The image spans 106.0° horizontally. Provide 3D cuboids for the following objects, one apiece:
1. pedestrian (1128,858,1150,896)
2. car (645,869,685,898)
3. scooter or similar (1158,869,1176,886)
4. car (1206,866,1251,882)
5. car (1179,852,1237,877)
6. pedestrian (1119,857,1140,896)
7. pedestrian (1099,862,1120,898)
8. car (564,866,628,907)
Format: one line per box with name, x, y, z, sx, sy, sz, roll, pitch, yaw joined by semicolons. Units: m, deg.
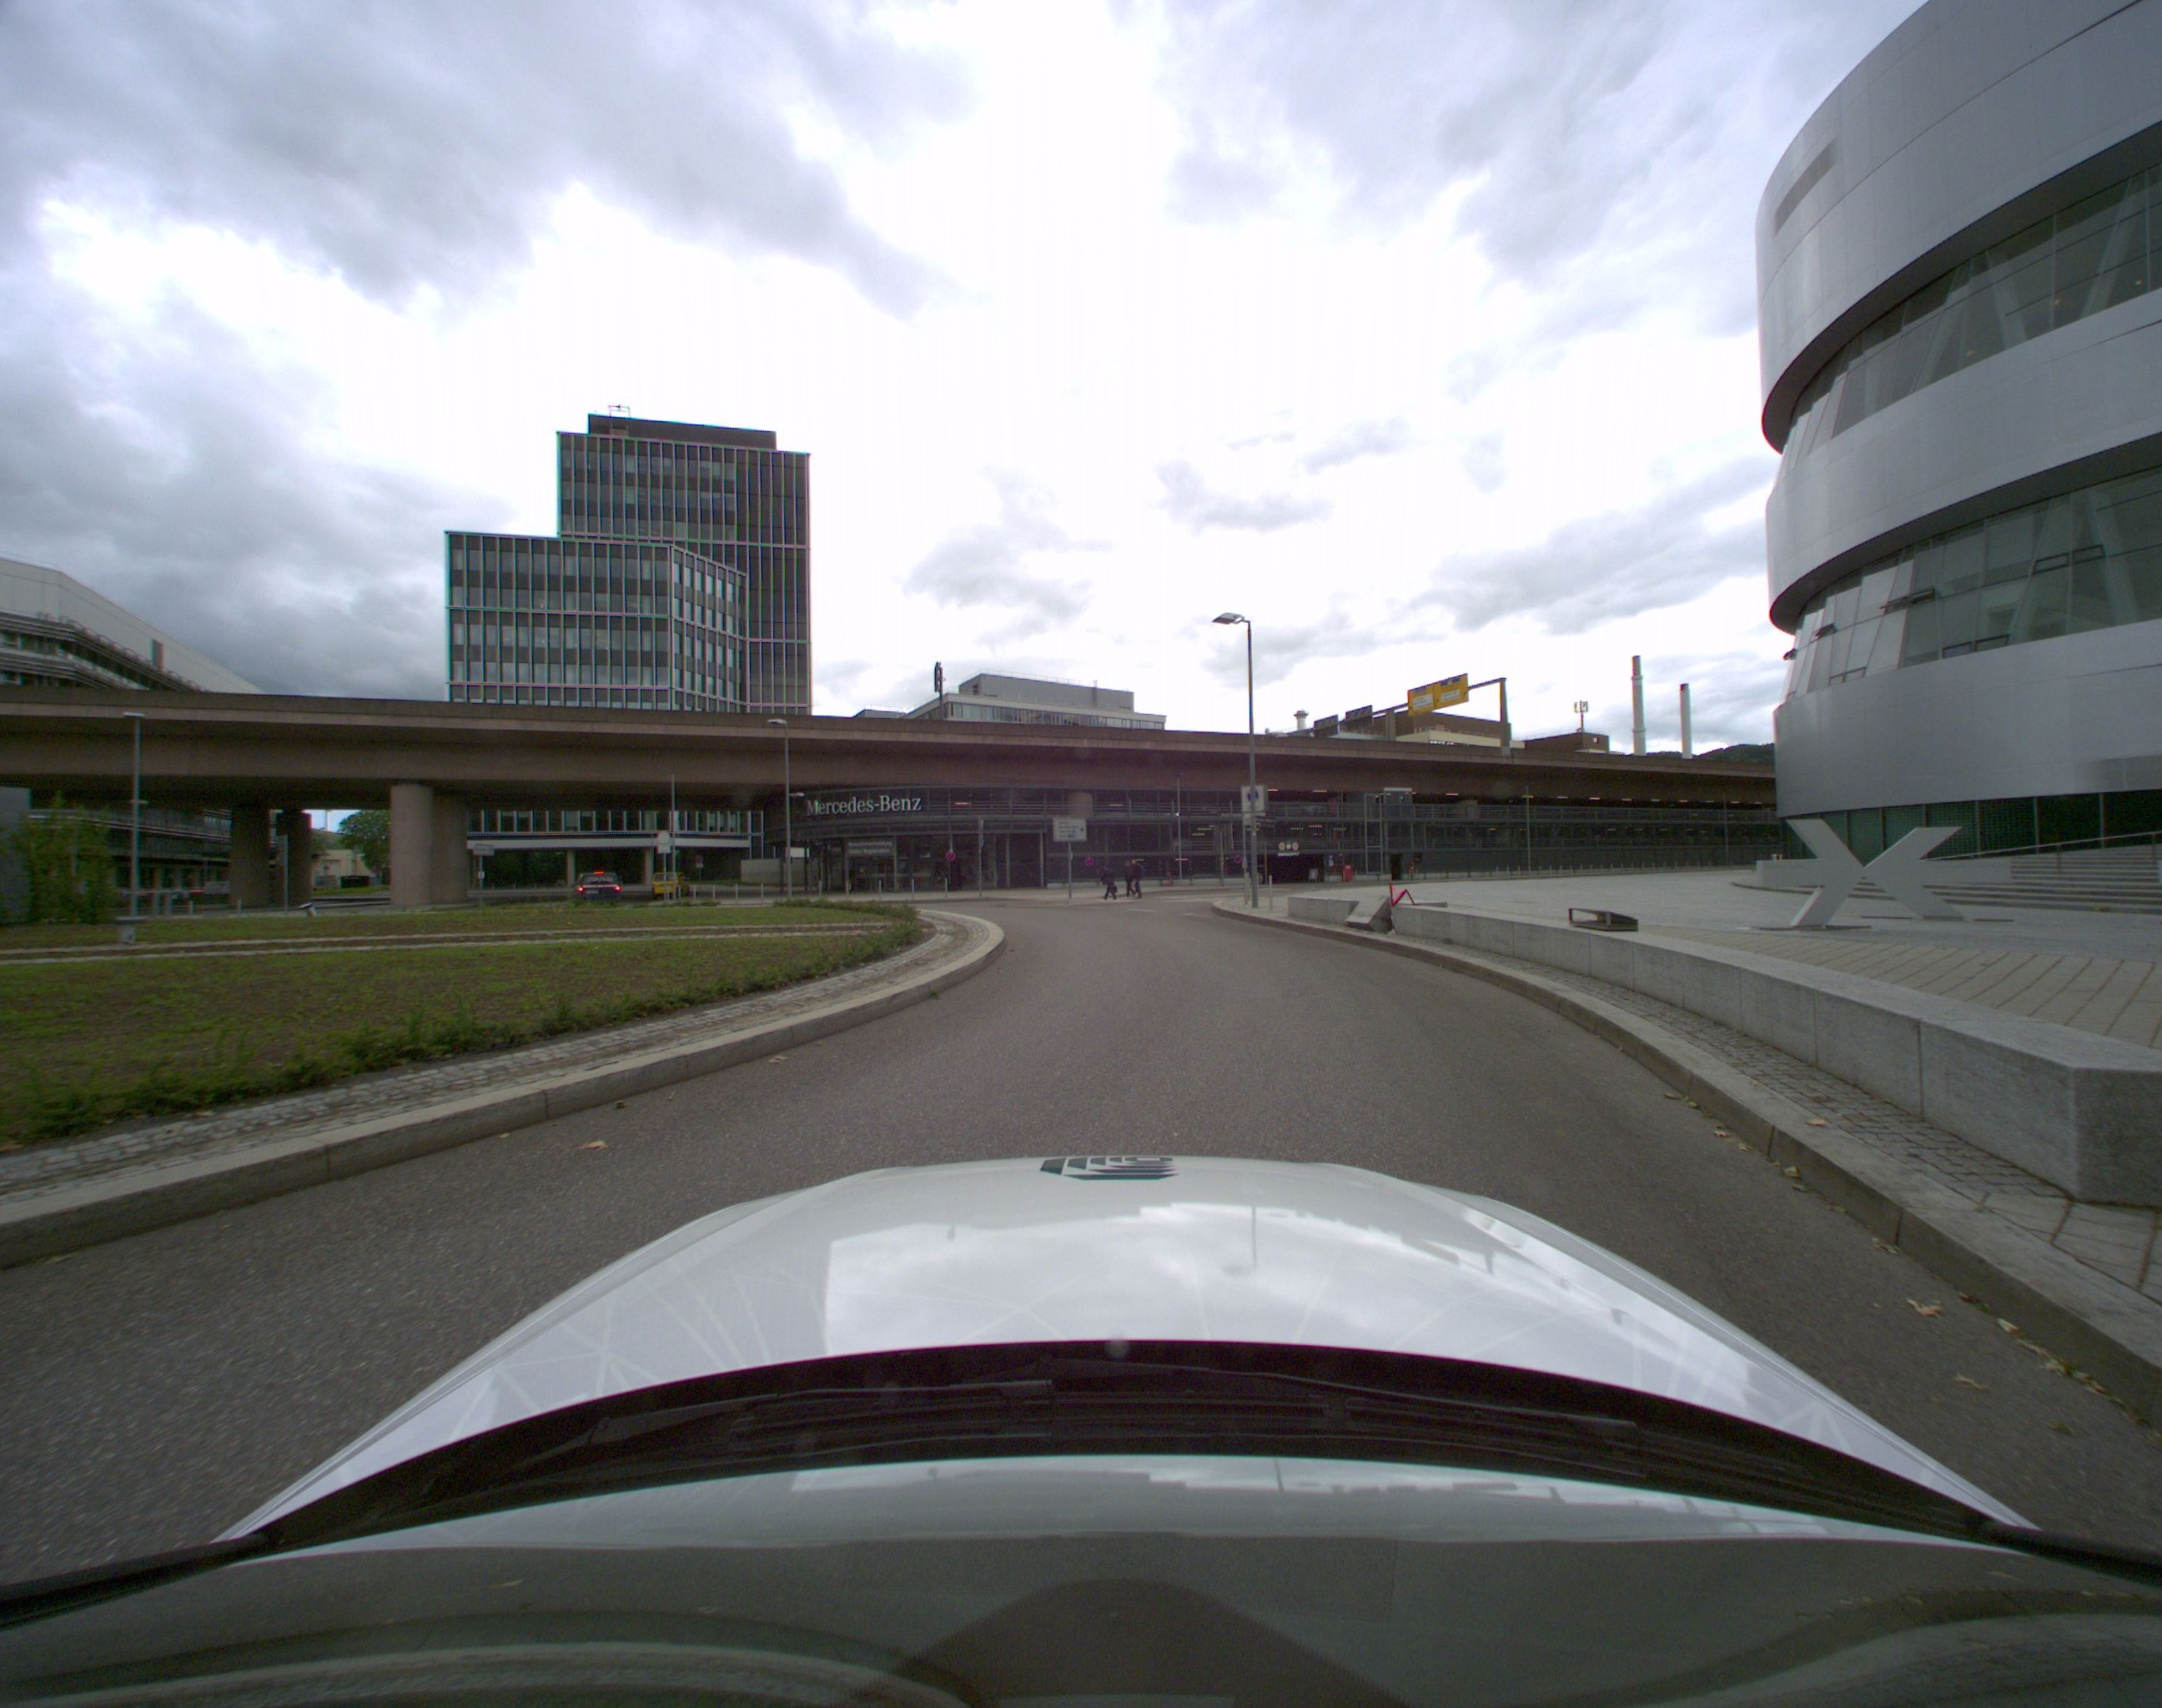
pedestrian;2.667;1.056;37.429;0.832;1.741;0.687;0;-2;-13
car;-30.457;2.157;59.773;1.999;2.014;3.974;0;-2;-19
scooter or similar;6.290;1.705;59.686;1.235;1.194;0.353;0;-2;-21
car;14.890;1.993;82.328;4.000;1.574;1.986;0;-2;-20
car;9.969;0.828;63.886;4.000;1.904;1.986;0;-2;-20
pedestrian;2.199;1.028;36.812;0.830;1.741;0.688;0;-2;-9
pedestrian;1.266;1.143;36.202;0.831;1.570;0.688;0;-2;-9
car;-25.383;1.685;42.551;2.294;2.014;4.728;1;-3;-38
